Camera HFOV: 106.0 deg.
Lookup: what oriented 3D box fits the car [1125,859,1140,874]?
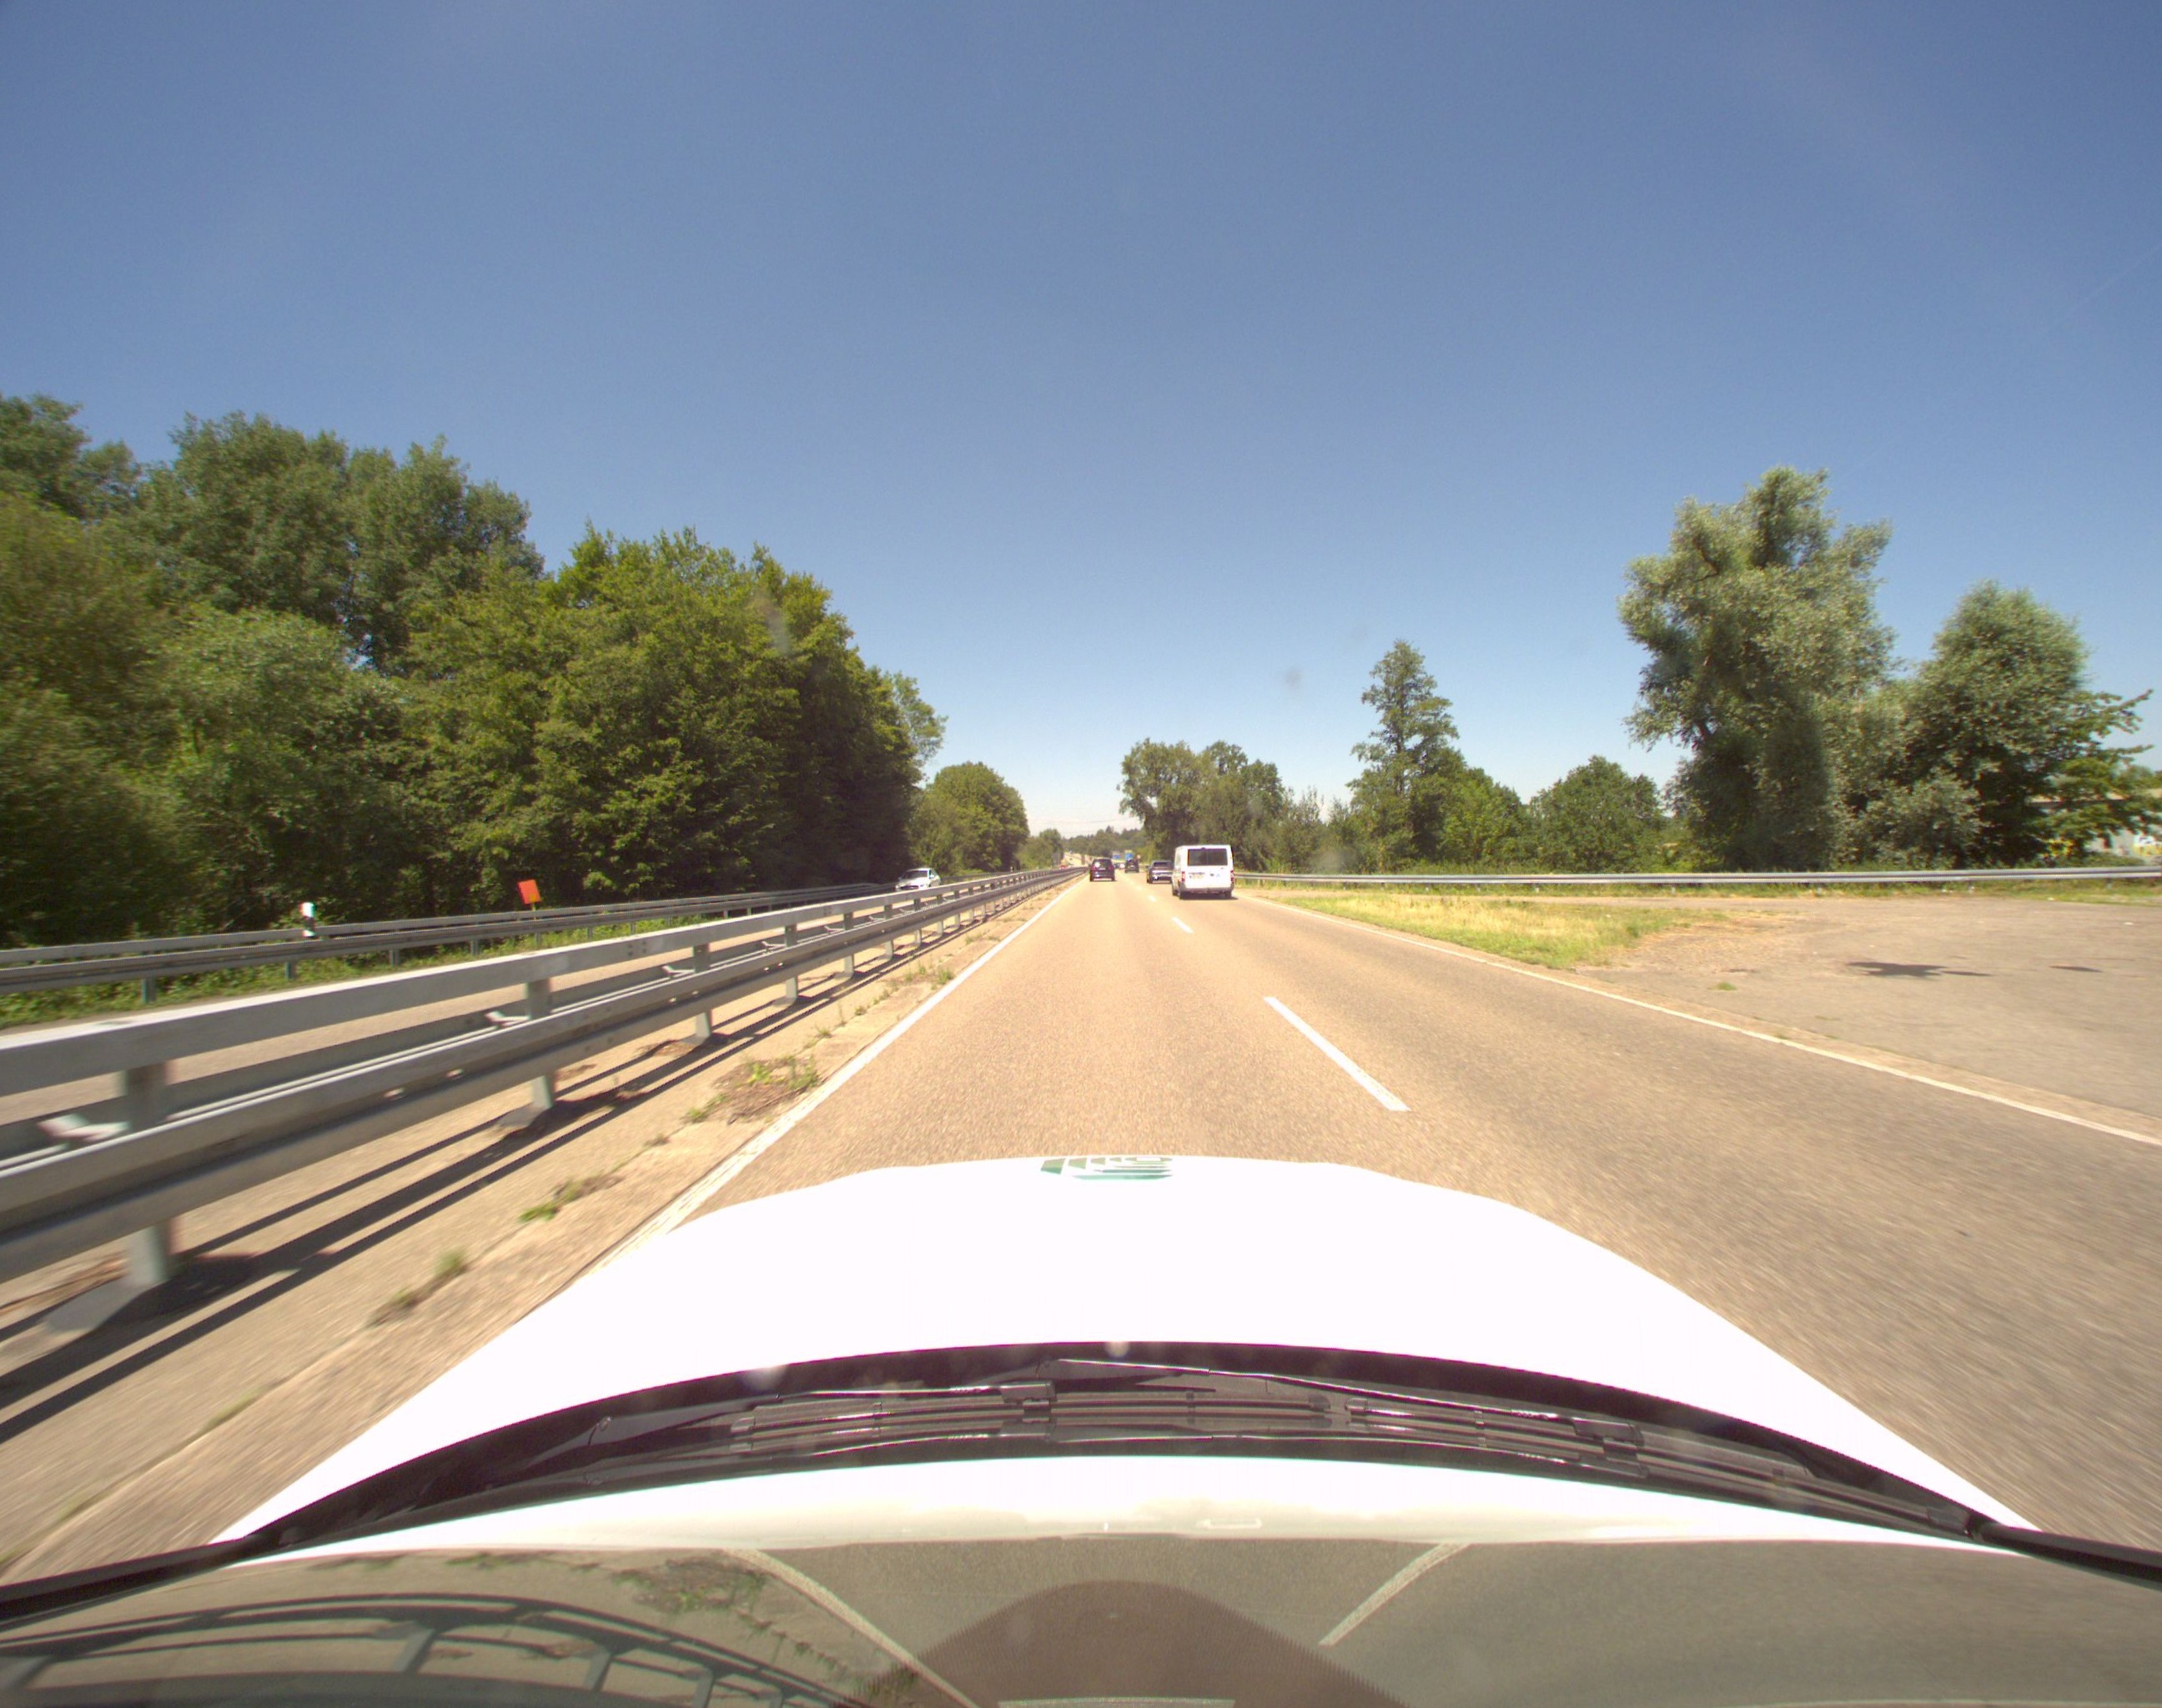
[{"bbox_3d":[6.767,1.662,106.817,1.773,1.817,4.214,-2,0,1],"label":"car"}]

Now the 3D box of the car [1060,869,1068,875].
[{"bbox_3d":[-4.417,4.570,206.244,1.769,1.419,4.576,-2,-1,1],"label":"car"}]

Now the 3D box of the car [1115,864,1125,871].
[{"bbox_3d":[8.064,2.777,169.379,1.813,1.414,4.000,-3,0,1],"label":"car"}]

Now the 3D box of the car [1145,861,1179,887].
[{"bbox_3d":[5.192,1.257,52.663,1.779,1.553,4.019,-2,0,0],"label":"car"}]

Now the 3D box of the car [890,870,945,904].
[{"bbox_3d":[-8.855,1.740,44.519,1.812,1.599,4.841,-4,-1,1],"label":"car"}]

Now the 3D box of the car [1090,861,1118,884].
[{"bbox_3d":[1.694,1.359,62.093,1.987,1.654,3.999,-1,-1,0],"label":"car"}]

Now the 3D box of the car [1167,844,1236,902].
[{"bbox_3d":[4.572,0.735,31.533,1.998,1.989,5.035,-1,-1,1],"label":"car"}]

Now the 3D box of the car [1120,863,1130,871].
[{"bbox_3d":[8.330,2.506,154.307,1.773,1.479,4.314,-1,-1,0],"label":"car"}]
